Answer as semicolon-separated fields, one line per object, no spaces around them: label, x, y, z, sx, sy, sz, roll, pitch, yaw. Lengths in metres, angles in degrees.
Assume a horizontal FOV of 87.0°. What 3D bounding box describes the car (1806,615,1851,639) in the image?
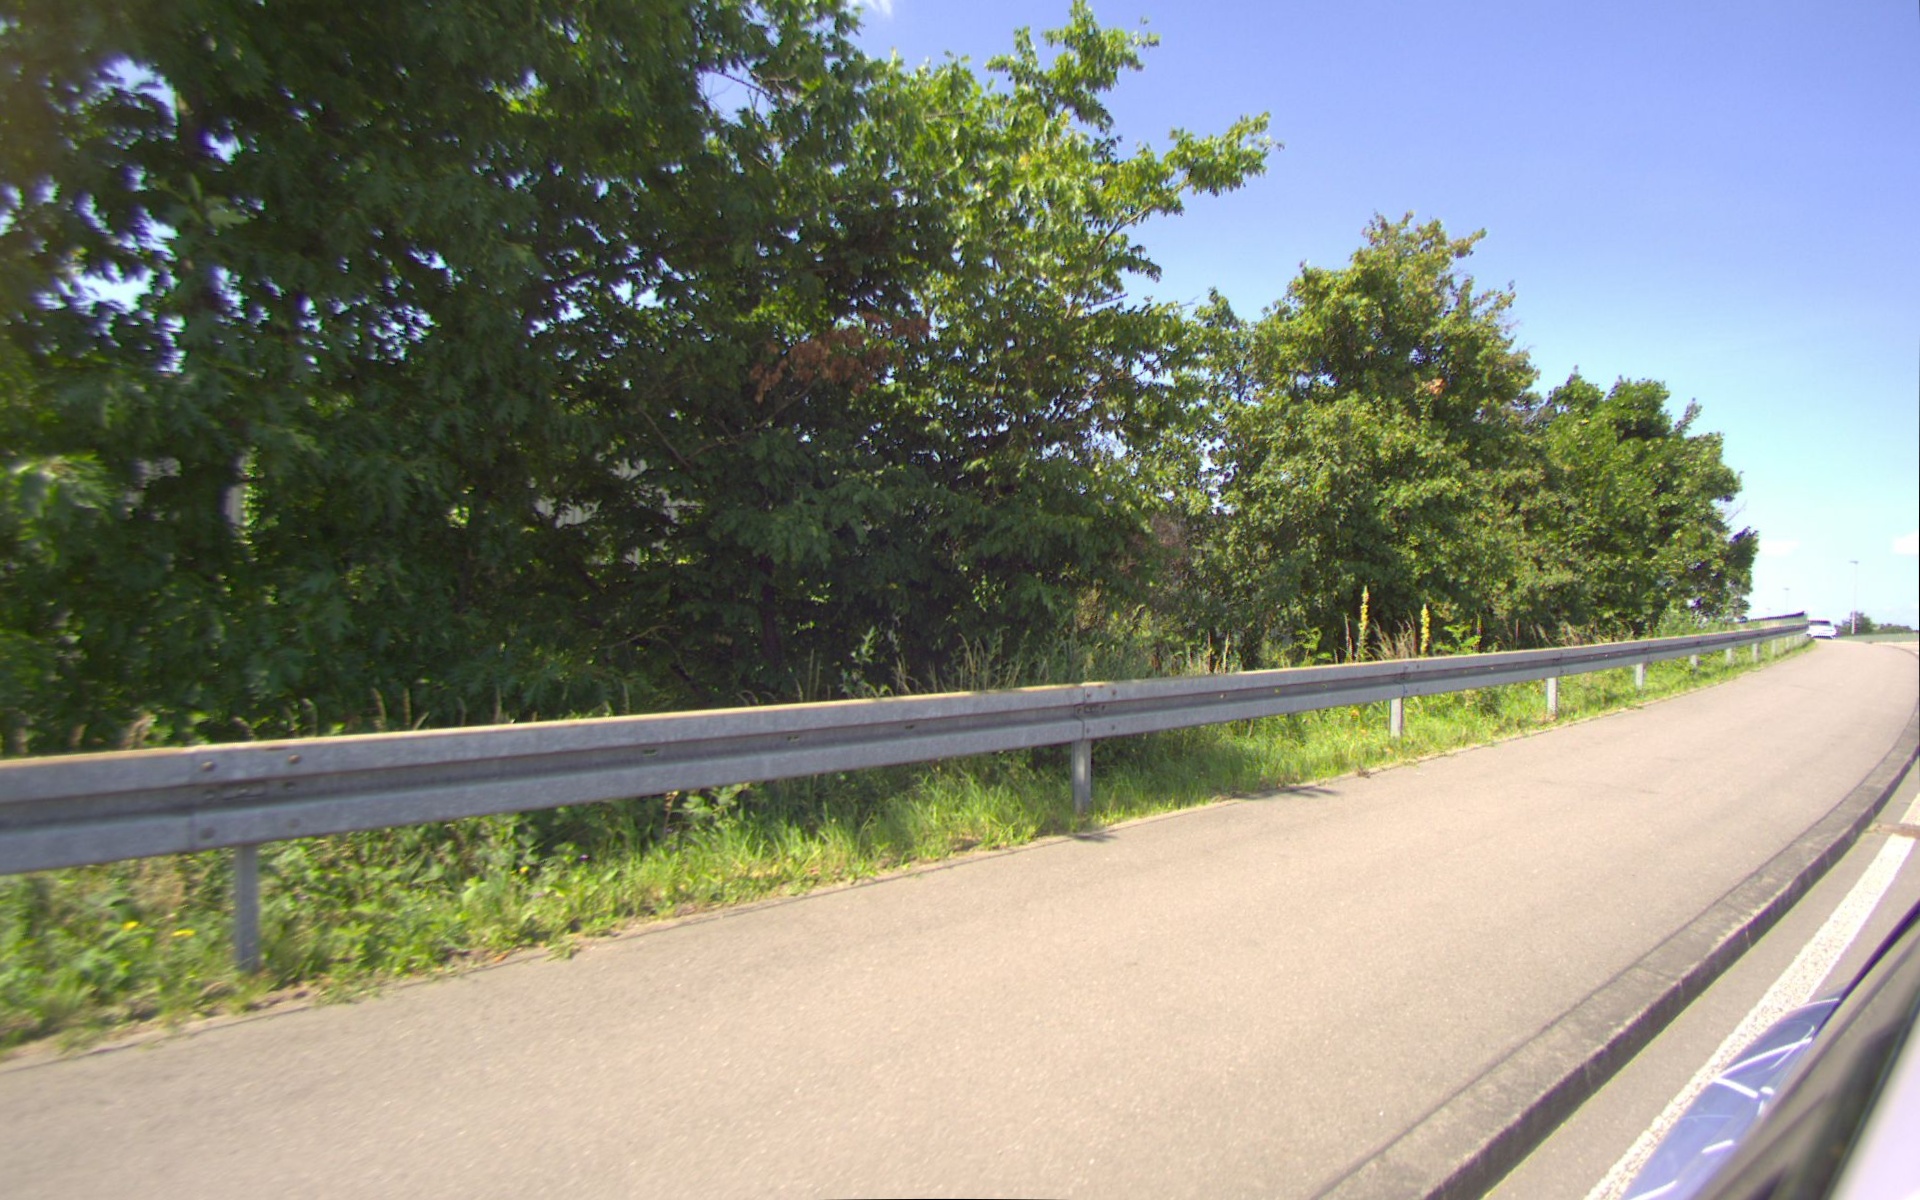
car;65.866;2.029;76.787;2.080;1.784;4.229;-1;-2;34
